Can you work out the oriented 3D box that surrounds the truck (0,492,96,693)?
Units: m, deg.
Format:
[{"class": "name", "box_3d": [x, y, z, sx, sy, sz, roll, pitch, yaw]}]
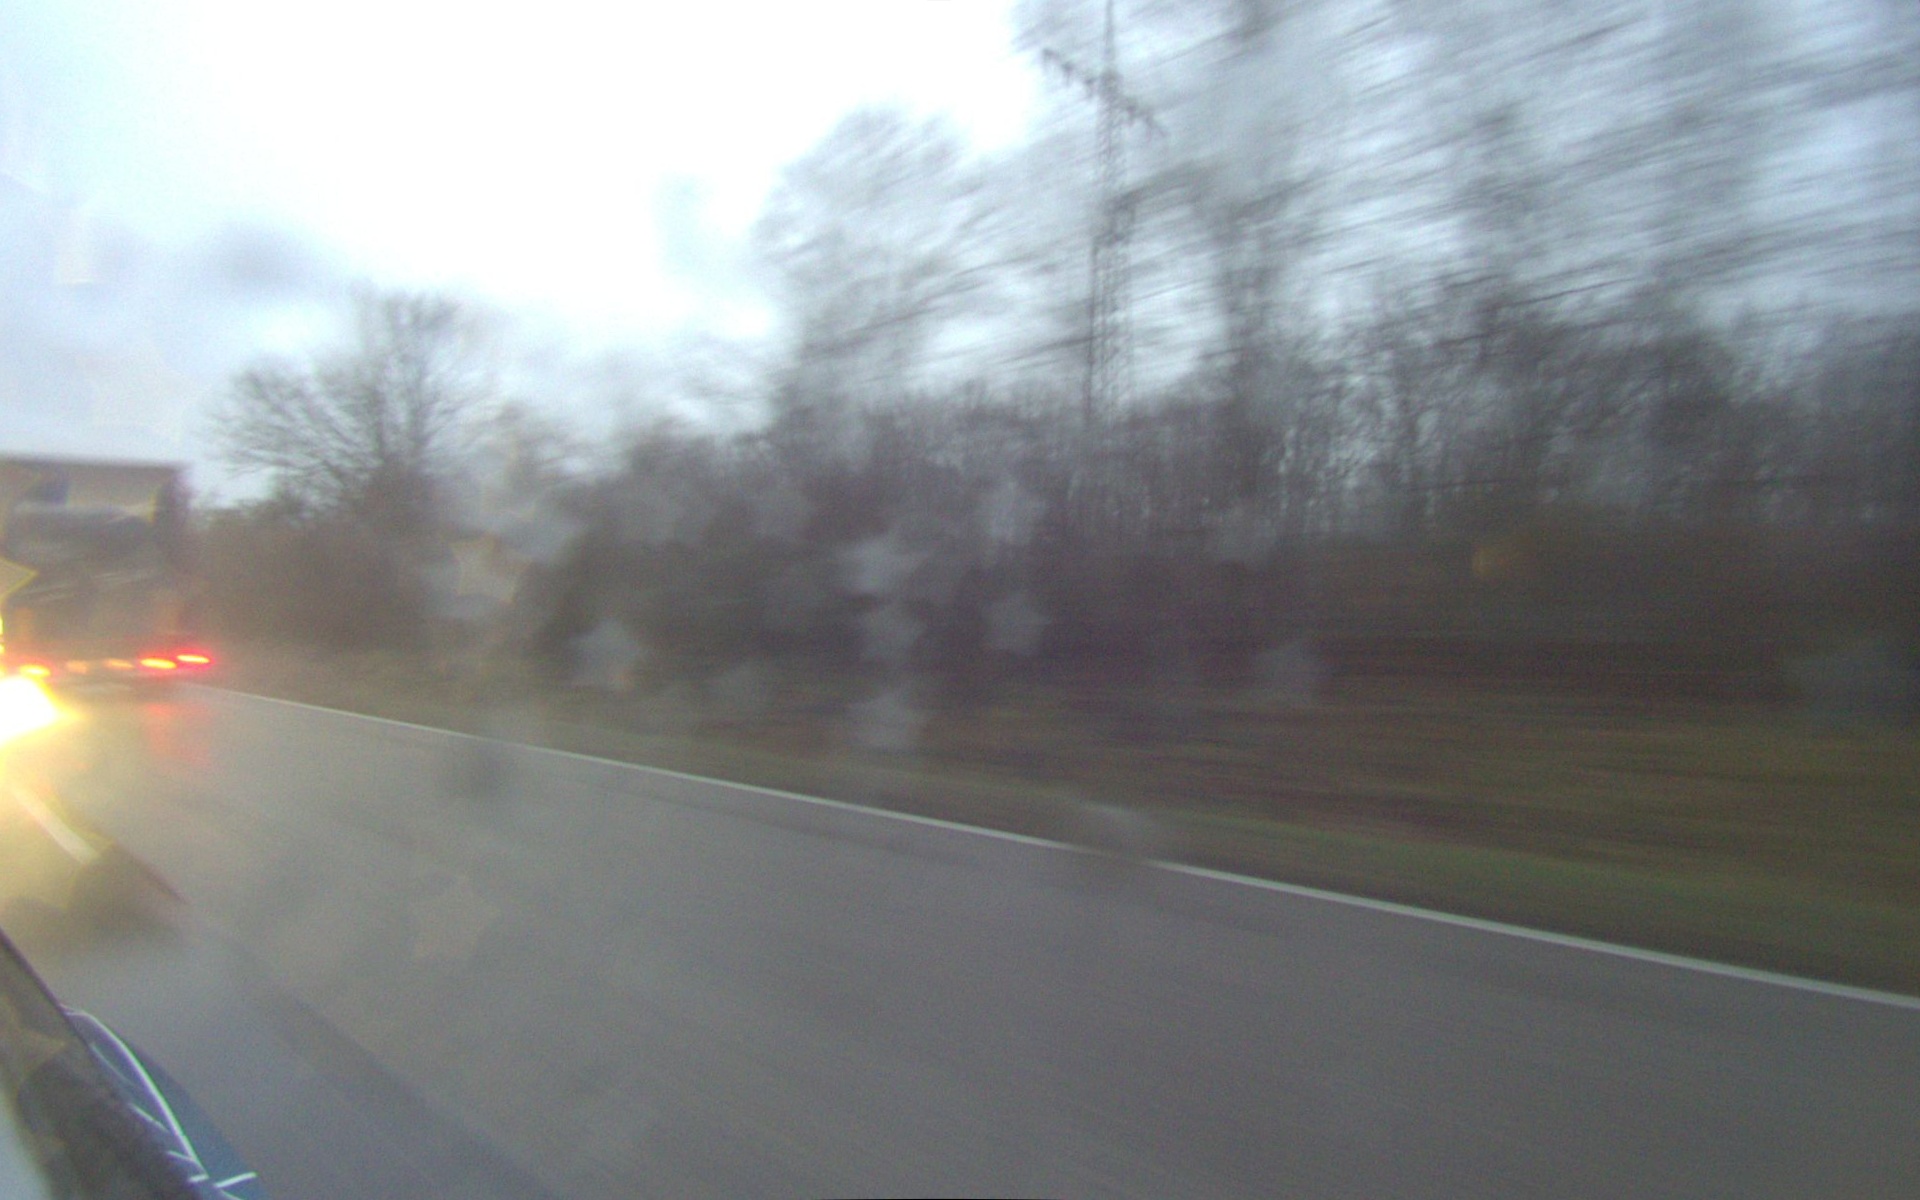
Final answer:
[{"class": "truck", "box_3d": [-23.087, -0.134, 24.488, 5.552, 4.449, 2.614, -1, 0, 42]}]

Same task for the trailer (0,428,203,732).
[{"class": "trailer", "box_3d": [-18.022, -0.224, 19.915, 12.238, 4.491, 2.643, -1, 0, 42]}]
